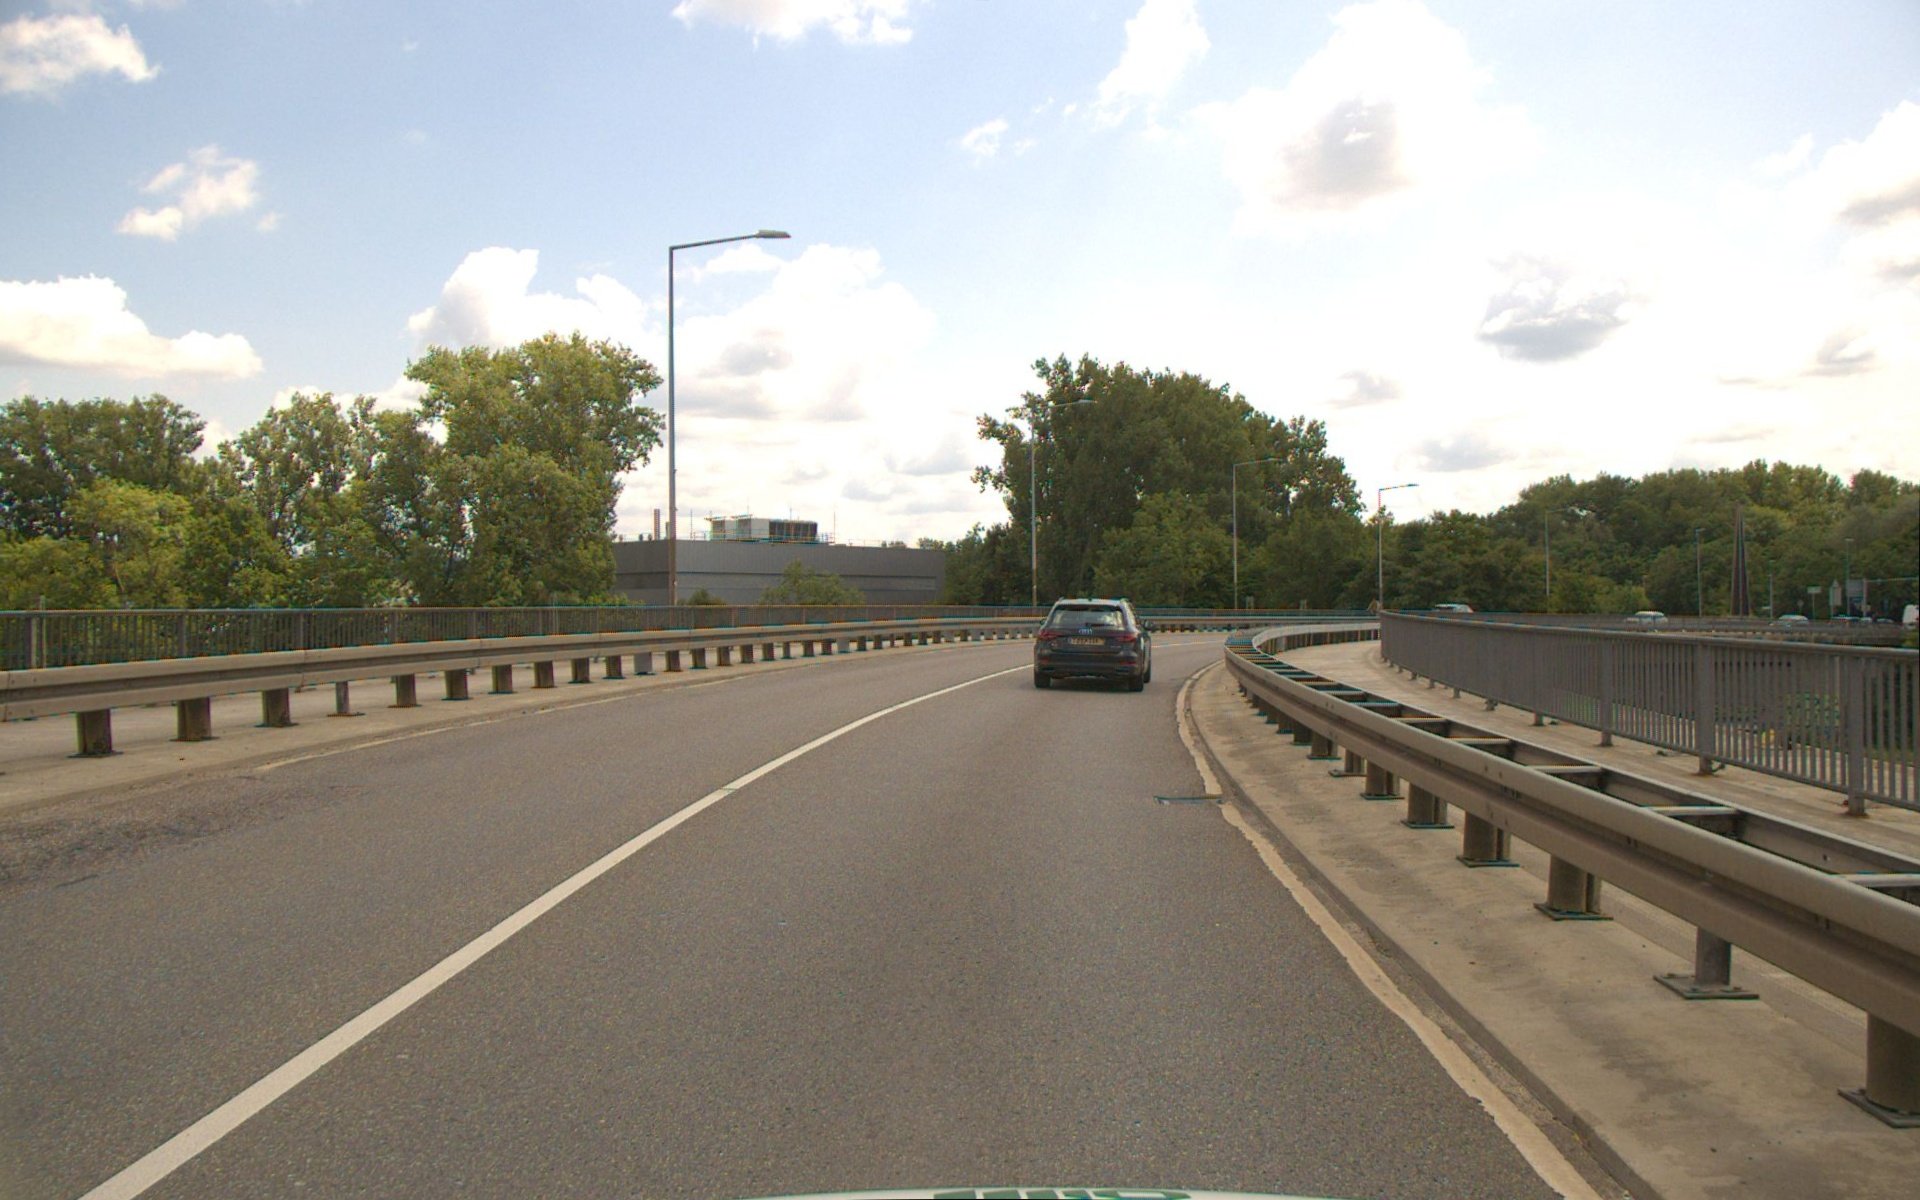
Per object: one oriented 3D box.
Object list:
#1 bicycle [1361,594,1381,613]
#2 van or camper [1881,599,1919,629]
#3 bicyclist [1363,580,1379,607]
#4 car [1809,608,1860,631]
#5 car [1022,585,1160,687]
[{"bbox_3d":[25.123,0.212,101.120,0.754,1.114,2.113,1,-1,26],"label":"bicycle"},{"bbox_3d":[80.451,1.178,139.497,5.159,2.381,2.261,2,1,-26],"label":"van or camper"},{"bbox_3d":[25.175,-0.410,101.212,0.752,1.630,0.946,1,-1,27],"label":"bicyclist"},{"bbox_3d":[67.232,1.526,127.145,3.804,1.680,1.721,1,0,-31],"label":"car"},{"bbox_3d":[2.253,0.558,27.477,1.789,1.518,4.210,2,0,11],"label":"car"}]
